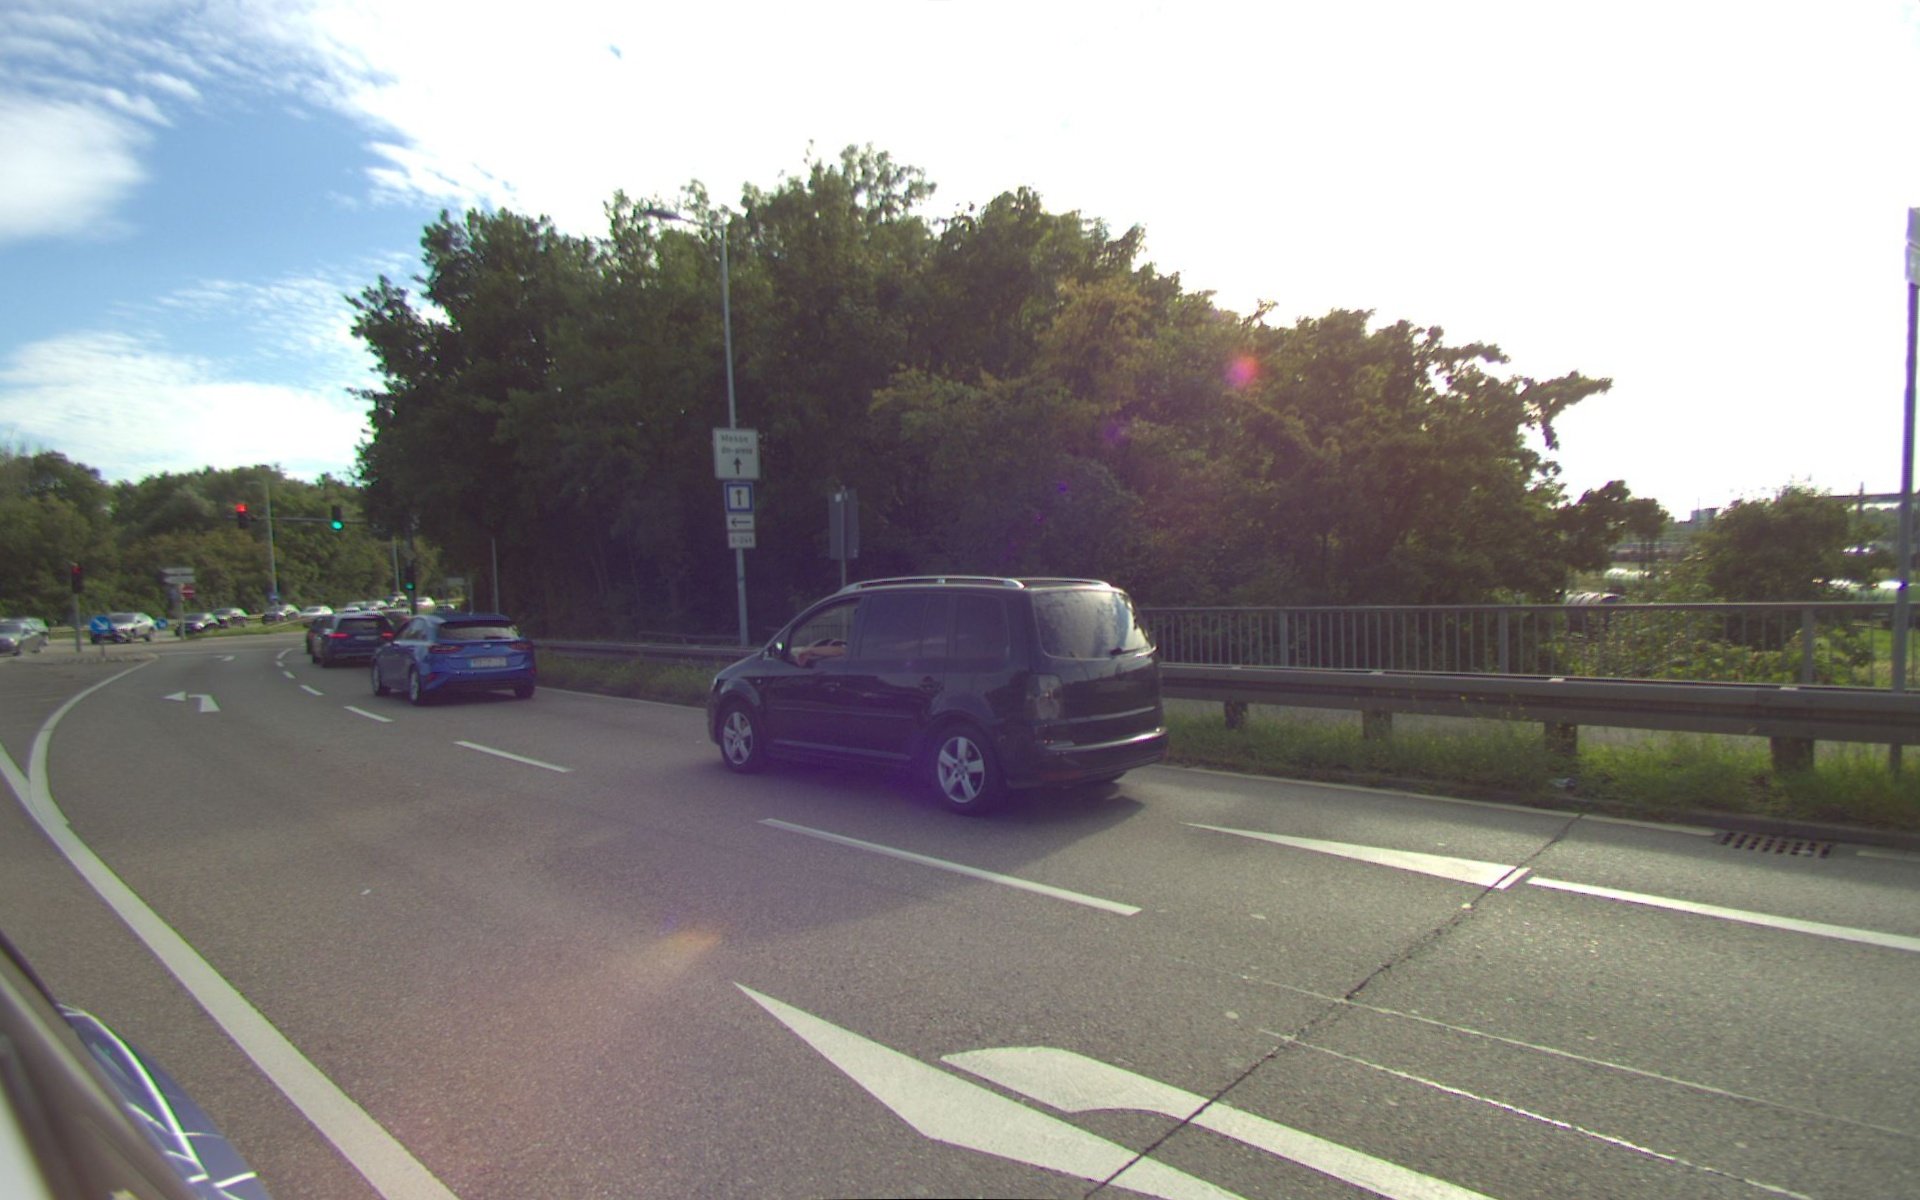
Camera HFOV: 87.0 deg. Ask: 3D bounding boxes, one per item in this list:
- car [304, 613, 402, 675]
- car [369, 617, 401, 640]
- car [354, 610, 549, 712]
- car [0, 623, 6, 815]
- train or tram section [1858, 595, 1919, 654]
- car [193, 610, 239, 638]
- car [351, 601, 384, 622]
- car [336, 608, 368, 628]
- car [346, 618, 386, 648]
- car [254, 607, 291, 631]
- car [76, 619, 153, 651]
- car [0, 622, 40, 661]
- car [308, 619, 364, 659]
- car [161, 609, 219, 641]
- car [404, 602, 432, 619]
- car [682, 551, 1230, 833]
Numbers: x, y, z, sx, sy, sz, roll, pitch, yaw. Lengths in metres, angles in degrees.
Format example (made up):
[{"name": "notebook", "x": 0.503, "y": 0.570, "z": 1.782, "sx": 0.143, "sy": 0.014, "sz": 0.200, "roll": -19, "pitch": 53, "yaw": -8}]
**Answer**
[{"name": "car", "x": -17.075, "y": 1.177, "z": 28.346, "sx": 1.791, "sy": 1.531, "sz": 4.774, "roll": -1, "pitch": 0, "yaw": -38}, {"name": "car", "x": -38.090, "y": 1.878, "z": 67.089, "sx": 1.789, "sy": 1.414, "sz": 4.405, "roll": -1, "pitch": 0, "yaw": -29}, {"name": "car", "x": -8.719, "y": 0.947, "z": 17.162, "sx": 1.870, "sy": 1.458, "sz": 4.366, "roll": -1, "pitch": 0, "yaw": -42}, {"name": "car", "x": -9.196, "y": 0.935, "z": 7.995, "sx": 3.964, "sy": 1.414, "sz": 1.765, "roll": -2, "pitch": 0, "yaw": 37}, {"name": "train or tram section", "x": 80.017, "y": 2.040, "z": 81.610, "sx": 3.063, "sy": 4.748, "sz": 16.695, "roll": -1, "pitch": 0, "yaw": 10}, {"name": "car", "x": -57.450, "y": 1.830, "z": 78.231, "sx": 1.965, "sy": 2.029, "sz": 4.013, "roll": -1, "pitch": 0, "yaw": -23}, {"name": "car", "x": -59.219, "y": 1.143, "z": 101.219, "sx": 1.966, "sy": 2.029, "sz": 4.012, "roll": -1, "pitch": 0, "yaw": -17}, {"name": "car", "x": -63.464, "y": 1.851, "z": 105.723, "sx": 1.966, "sy": 2.029, "sz": 4.013, "roll": -1, "pitch": 0, "yaw": -18}, {"name": "car", "x": -33.080, "y": 1.814, "z": 56.458, "sx": 1.789, "sy": 1.531, "sz": 4.841, "roll": -1, "pitch": 0, "yaw": -29}, {"name": "car", "x": -60.837, "y": 1.680, "z": 89.585, "sx": 1.965, "sy": 2.029, "sz": 4.013, "roll": -1, "pitch": 0, "yaw": -24}, {"name": "car", "x": -47.328, "y": 1.913, "z": 56.753, "sx": 1.965, "sy": 1.612, "sz": 4.295, "roll": -1, "pitch": 0, "yaw": -21}, {"name": "car", "x": -39.774, "y": 1.713, "z": 42.066, "sx": 1.614, "sy": 1.564, "sz": 3.751, "roll": -1, "pitch": 0, "yaw": -32}, {"name": "car", "x": -23.292, "y": 1.422, "z": 37.888, "sx": 1.602, "sy": 1.376, "sz": 3.785, "roll": -1, "pitch": 0, "yaw": -29}, {"name": "car", "x": -51.294, "y": 1.645, "z": 67.508, "sx": 1.965, "sy": 2.029, "sz": 4.287, "roll": -1, "pitch": 0, "yaw": -22}, {"name": "car", "x": -66.627, "y": 1.232, "z": 124.459, "sx": 1.967, "sy": 2.029, "sz": 4.010, "roll": -1, "pitch": 0, "yaw": -13}, {"name": "car", "x": -0.277, "y": 0.578, "z": 8.166, "sx": 4.453, "sy": 1.667, "sz": 1.727, "roll": -2, "pitch": 0, "yaw": 44}]
